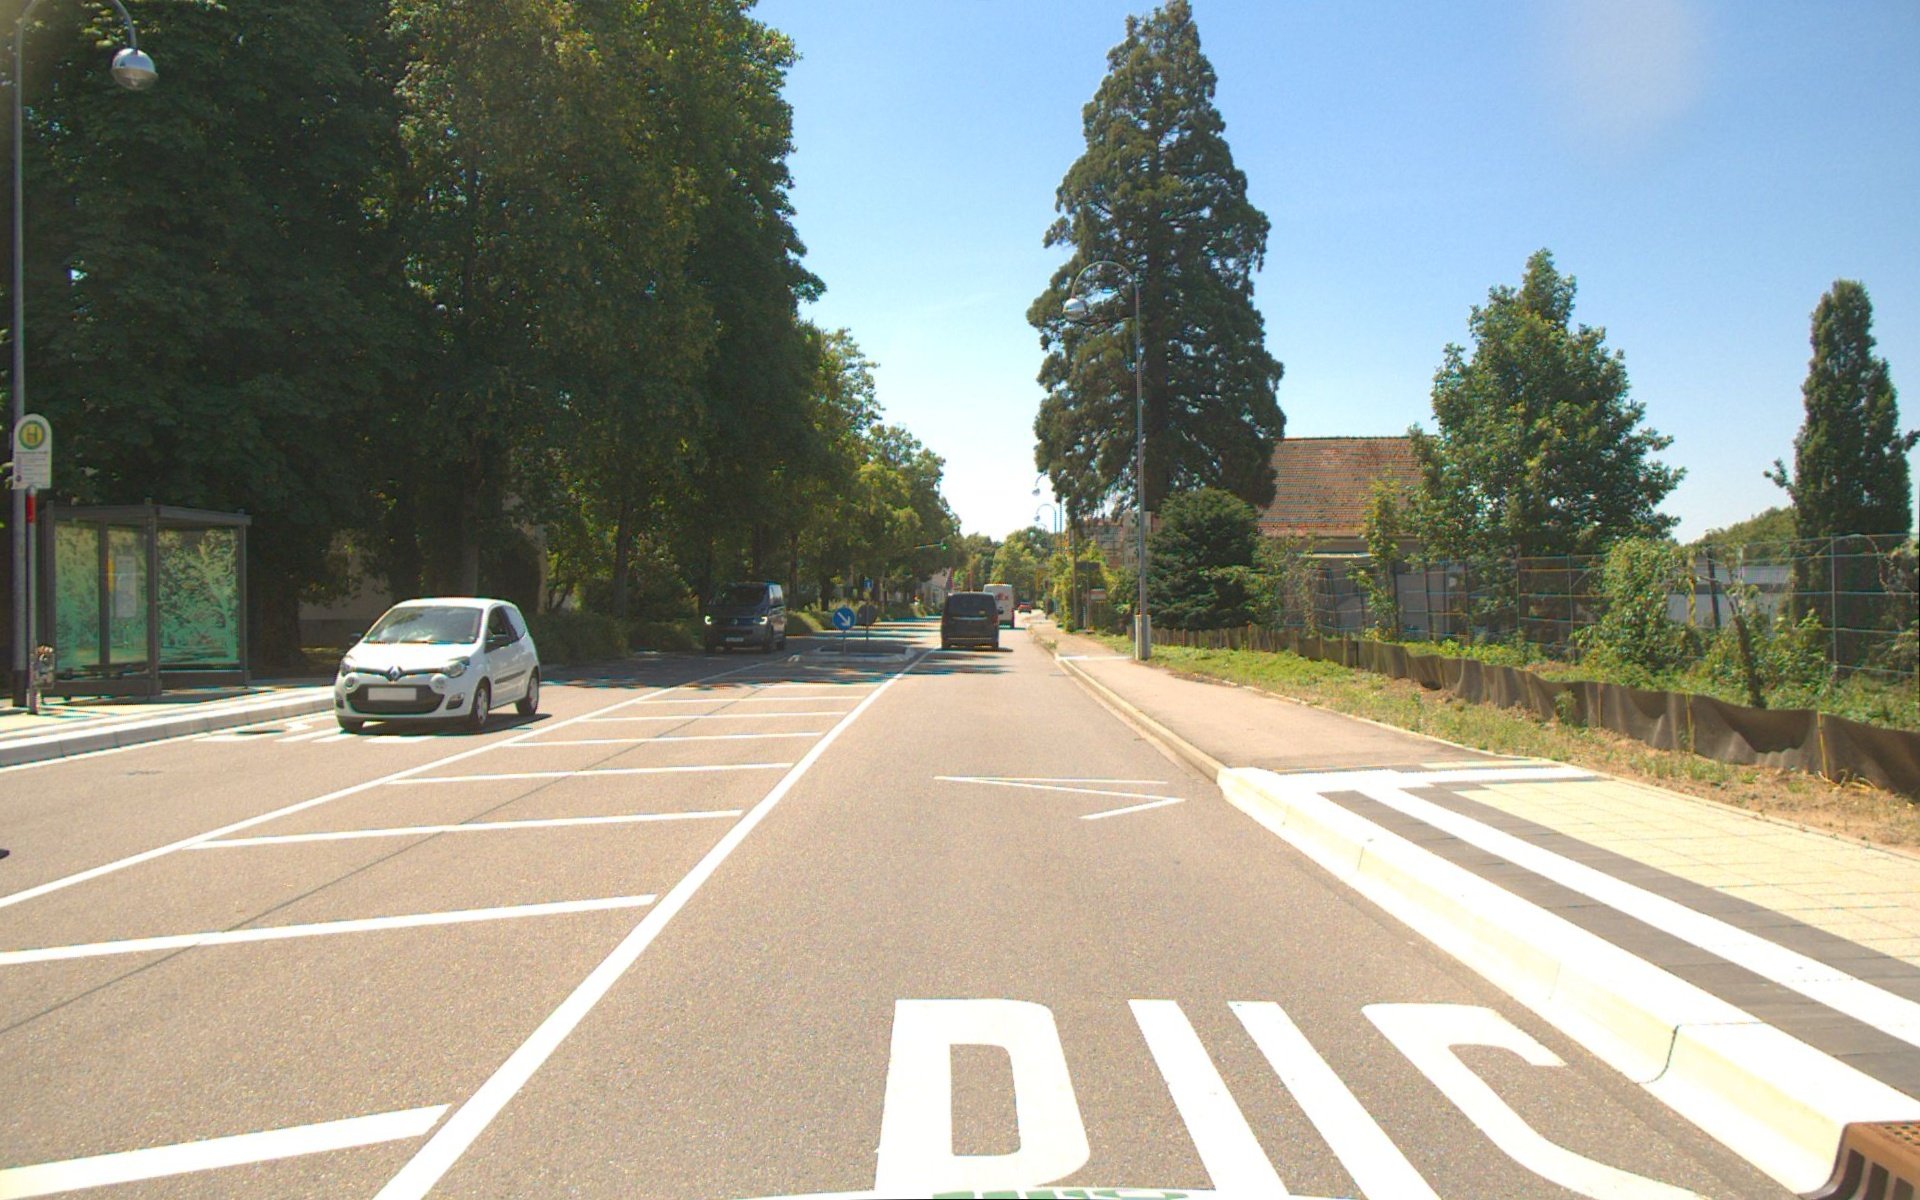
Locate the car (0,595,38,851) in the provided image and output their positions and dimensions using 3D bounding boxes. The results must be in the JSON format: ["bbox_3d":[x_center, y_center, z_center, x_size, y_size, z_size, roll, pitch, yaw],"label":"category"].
[{"bbox_3d":[-6.259,0.688,8.029,1.519,1.476,3.690,1,0,-1],"label":"car"}]

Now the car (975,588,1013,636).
[{"bbox_3d":[2.055,0.697,98.775,2.076,2.724,5.664,1,1,2],"label":"car"}]

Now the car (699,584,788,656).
[{"bbox_3d":[-6.185,0.526,47.737,1.953,1.943,4.990,1,0,-1],"label":"car"}]

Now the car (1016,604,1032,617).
[{"bbox_3d":[8.731,1.457,225.690,1.820,1.671,3.998,1,1,-2],"label":"car"}]

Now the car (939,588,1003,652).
[{"bbox_3d":[0.317,0.602,53.447,1.953,1.926,4.000,1,1,-1],"label":"car"}]

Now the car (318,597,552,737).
[{"bbox_3d":[-6.210,0.732,19.984,1.656,1.485,3.639,1,1,0],"label":"car"}]
